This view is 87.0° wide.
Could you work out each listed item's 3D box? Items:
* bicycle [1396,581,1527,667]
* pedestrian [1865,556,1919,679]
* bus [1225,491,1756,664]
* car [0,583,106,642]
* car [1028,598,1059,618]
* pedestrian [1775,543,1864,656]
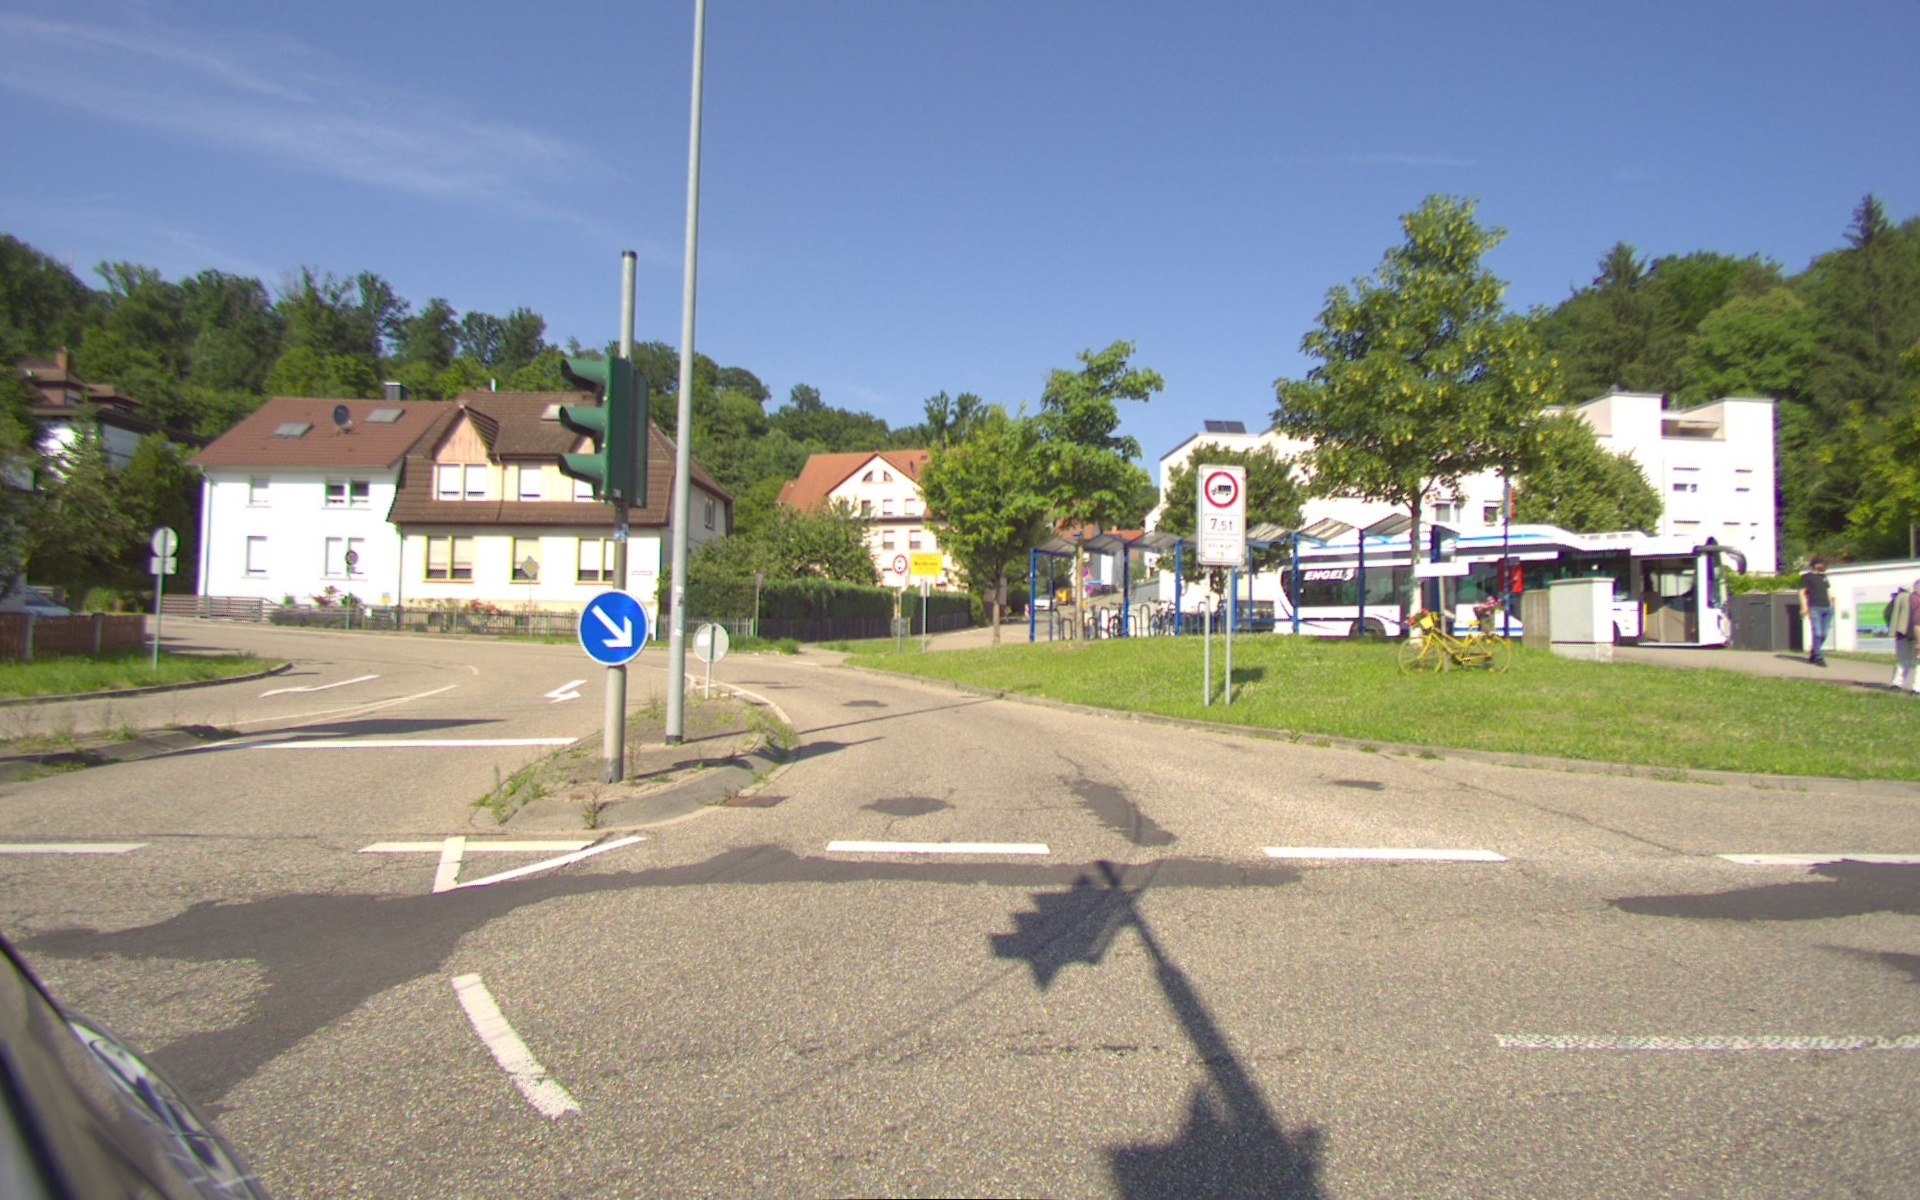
[{"bbox_3d":[8.016,0.384,16.240,1.738,1.265,0.618,-3,2,11],"label":"bicycle"},{"bbox_3d":[13.369,0.234,14.157,0.732,1.690,0.712,-1,0,5],"label":"pedestrian"},{"bbox_3d":[13.381,-0.432,27.024,12.214,3.742,2.830,-1,0,42],"label":"bus"},{"bbox_3d":[-27.604,0.374,29.634,3.956,1.649,1.934,-1,0,11],"label":"car"},{"bbox_3d":[7.988,0.792,96.496,1.984,1.822,3.975,0,-1,19],"label":"car"},{"bbox_3d":[14.899,-0.028,17.567,0.846,1.922,0.740,0,2,4],"label":"pedestrian"}]
